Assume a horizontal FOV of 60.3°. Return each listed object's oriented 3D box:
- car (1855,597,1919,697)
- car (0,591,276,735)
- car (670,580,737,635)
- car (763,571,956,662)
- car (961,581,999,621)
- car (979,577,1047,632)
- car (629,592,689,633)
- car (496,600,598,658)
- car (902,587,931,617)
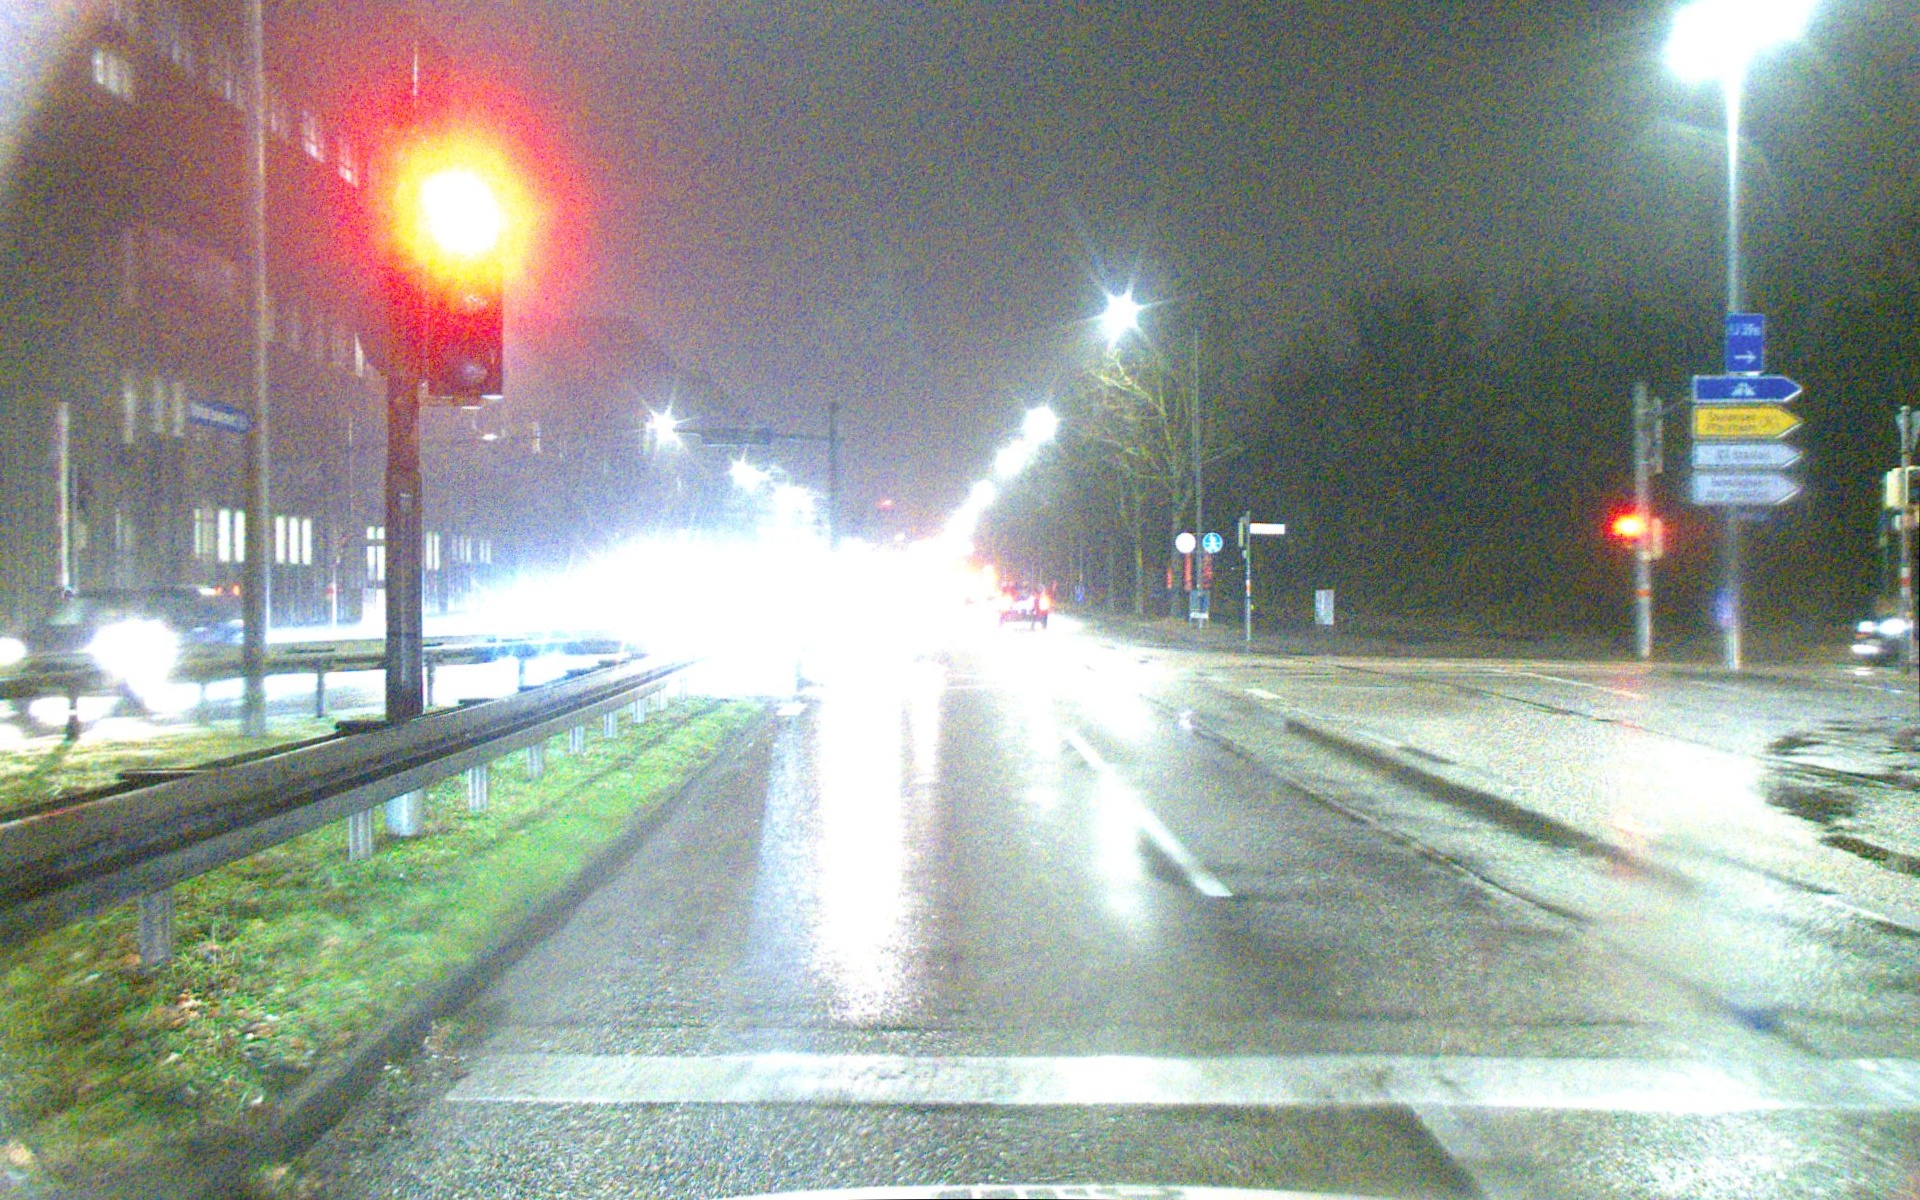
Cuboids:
[{"bbox_3d":[19.269,0.885,31.677,3.346,1.870,1.688,0,-1,3],"label":"car"},{"bbox_3d":[-11.172,0.793,22.714,1.714,1.738,4.498,-1,0,-1],"label":"car"},{"bbox_3d":[-8.977,0.270,58.142,1.746,1.847,3.999,-1,0,-1],"label":"car"},{"bbox_3d":[-2.076,0.316,32.568,1.970,1.638,4.925,1,-1,-28],"label":"car"},{"bbox_3d":[1.138,0.071,96.409,2.163,2.253,3.642,0,-1,-1],"label":"car"},{"bbox_3d":[1.769,0.177,56.491,1.865,1.811,3.995,0,0,-5],"label":"car"},{"bbox_3d":[-12.472,0.513,68.696,1.734,1.597,4.330,-1,0,-1],"label":"car"},{"bbox_3d":[-11.777,0.805,47.421,1.847,1.579,4.432,0,0,-1],"label":"car"},{"bbox_3d":[-2.981,0.157,114.223,1.953,2.049,3.999,0,0,-1],"label":"car"}]
